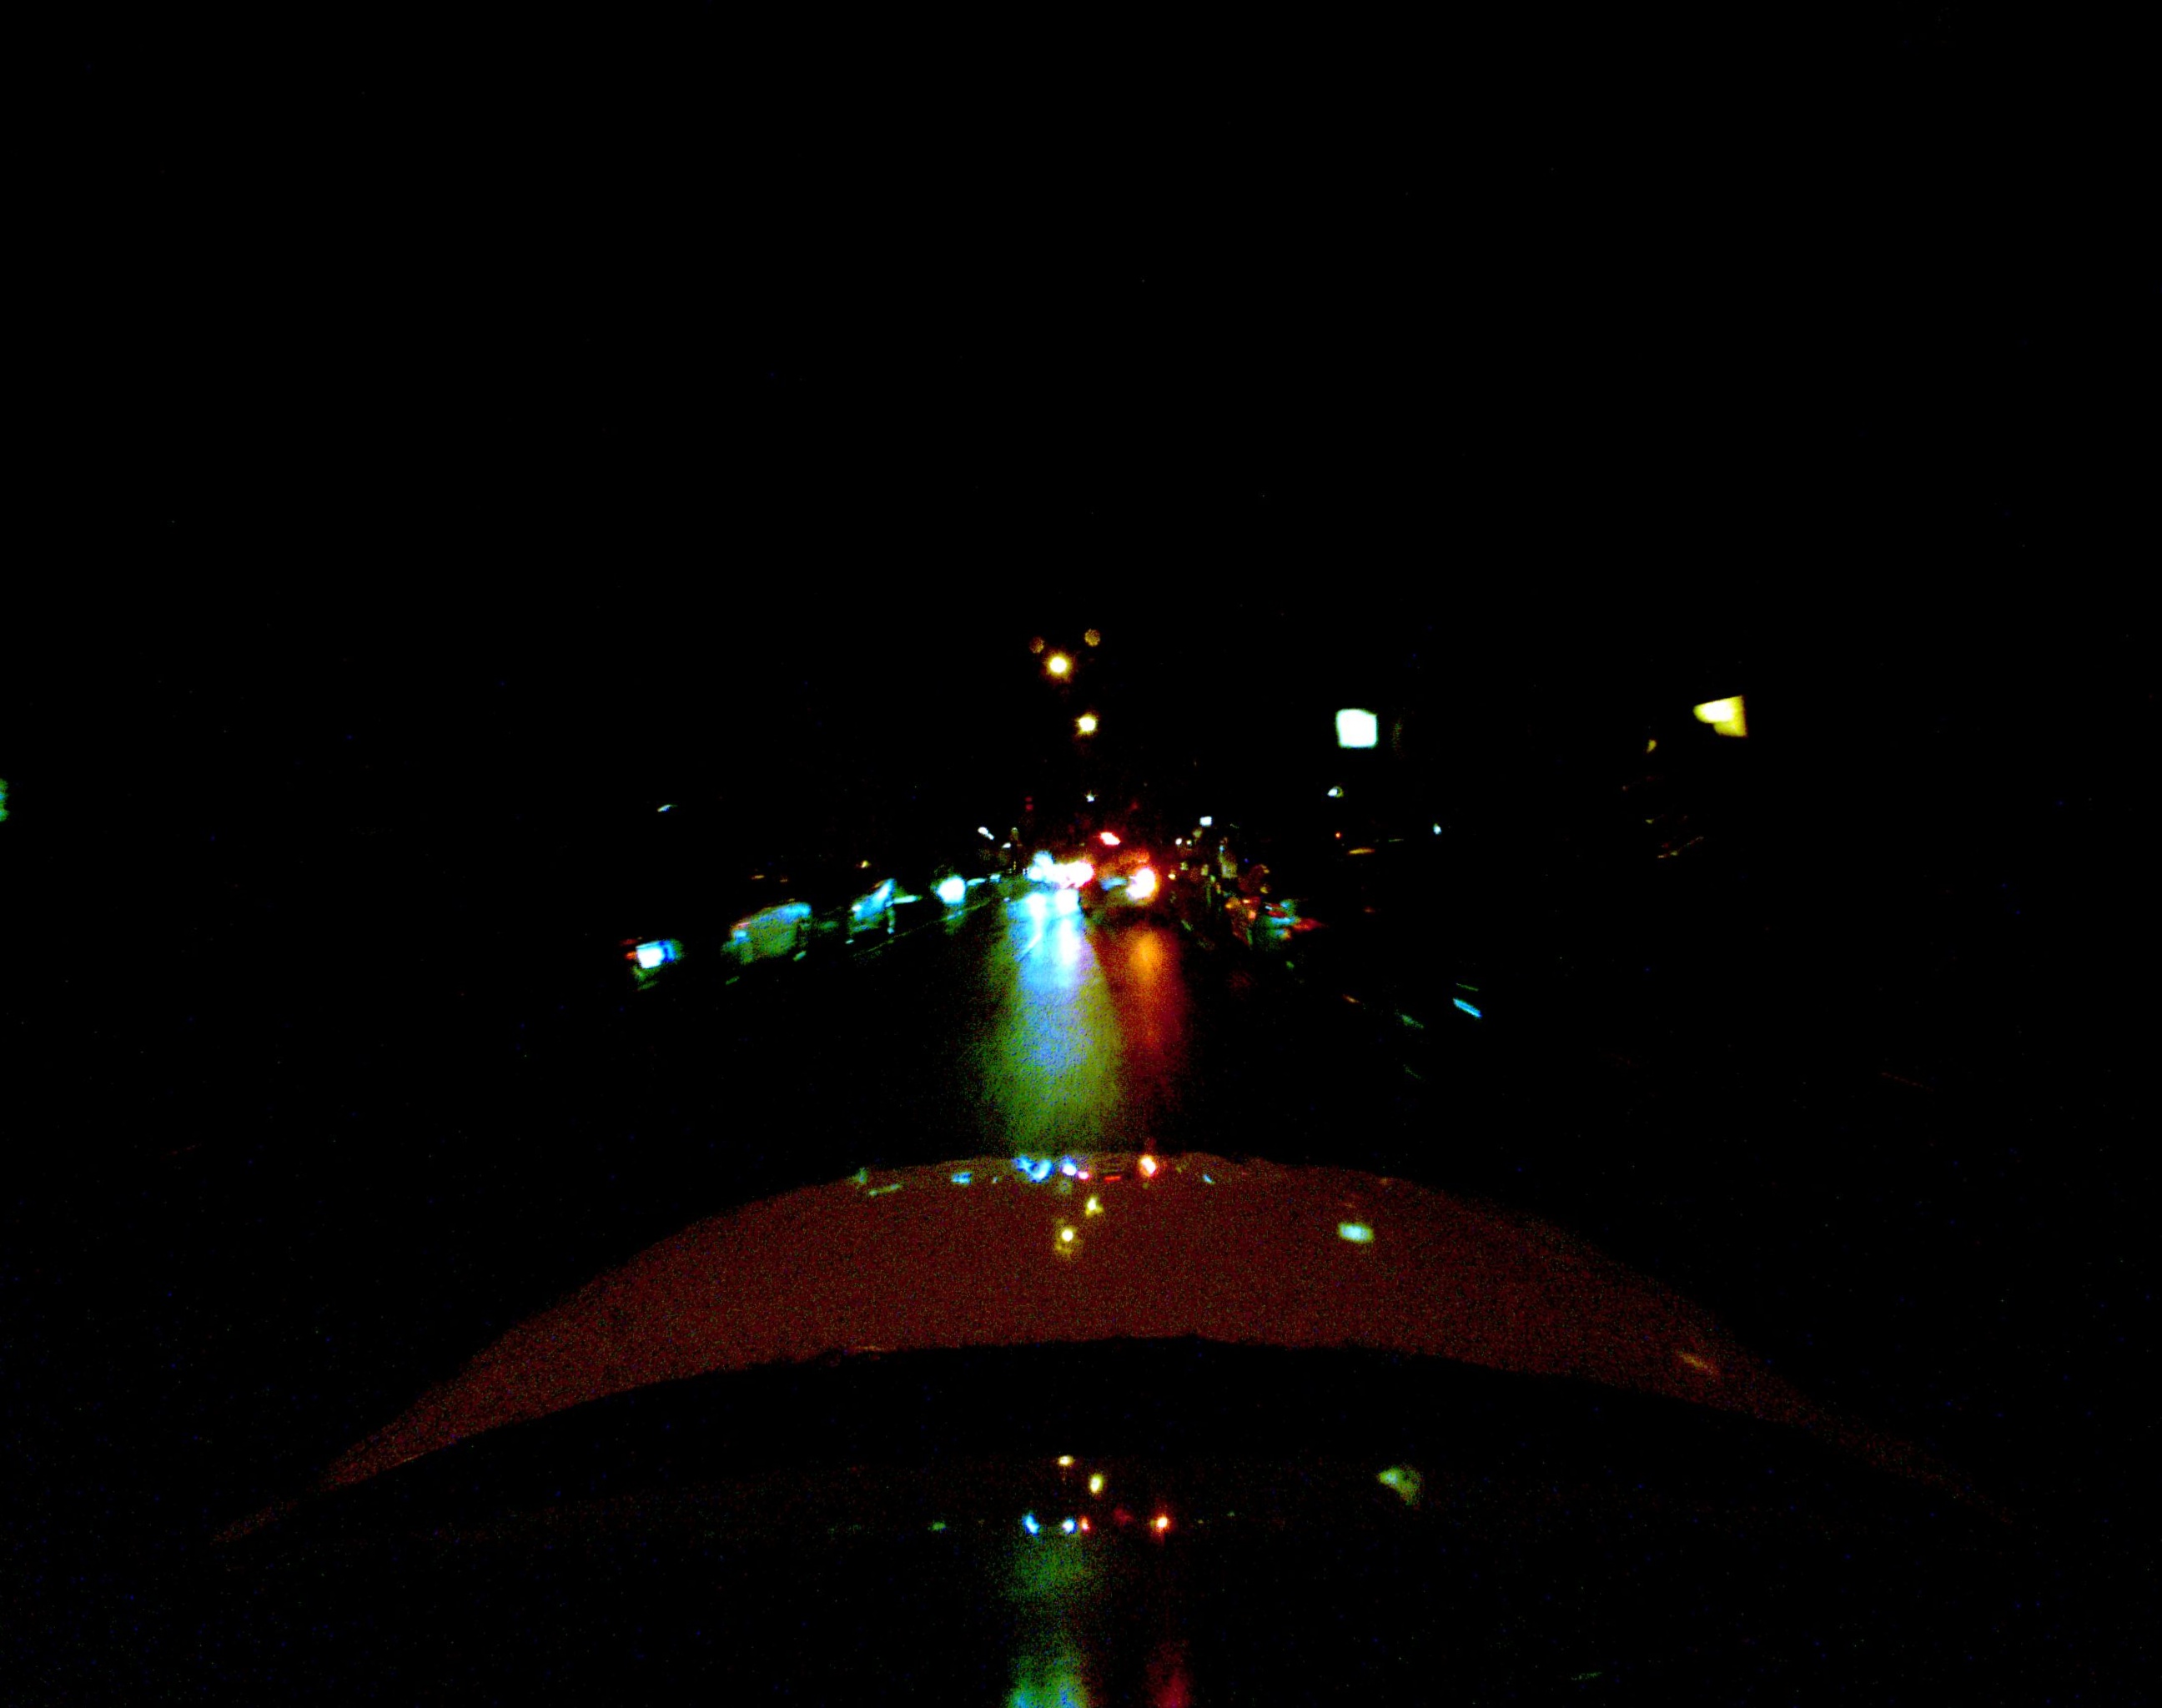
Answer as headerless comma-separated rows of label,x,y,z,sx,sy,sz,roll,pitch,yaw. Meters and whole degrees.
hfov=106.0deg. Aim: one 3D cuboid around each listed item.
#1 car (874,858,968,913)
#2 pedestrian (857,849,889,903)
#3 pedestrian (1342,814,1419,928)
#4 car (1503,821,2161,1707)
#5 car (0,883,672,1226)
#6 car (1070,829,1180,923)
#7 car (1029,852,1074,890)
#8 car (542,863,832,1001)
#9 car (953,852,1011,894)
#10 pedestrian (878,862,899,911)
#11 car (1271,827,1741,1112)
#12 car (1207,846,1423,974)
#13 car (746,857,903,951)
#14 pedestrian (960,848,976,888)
car,-4.832,0.896,25.275,1.826,1.486,4.596,-2,0,2
pedestrian,-7.111,0.740,27.834,0.739,1.804,0.988,0,-1,5
pedestrian,5.016,0.271,13.719,0.858,1.788,1.084,-4,0,5
car,2.613,0.668,1.329,1.685,1.498,3.888,-2,0,-2
car,-5.046,0.995,5.877,1.815,1.390,4.427,-1,0,1
car,1.255,0.494,20.504,1.982,2.049,4.710,-2,0,12
car,-1.370,0.769,39.621,1.914,1.618,4.574,-4,0,0
car,-5.135,0.911,11.396,1.826,1.481,4.308,-2,0,2
car,-4.326,0.809,36.151,1.826,1.717,4.596,-2,0,2
pedestrian,-6.280,1.054,26.626,0.657,1.552,0.759,1,-1,-13
car,2.775,0.641,6.402,1.683,1.498,3.892,-2,0,1
car,3.040,0.660,11.495,1.911,1.412,4.000,-2,0,1
car,-4.868,0.876,16.018,1.739,1.588,3.767,-2,0,2
pedestrian,-5.586,0.699,40.144,0.654,1.974,0.770,0,-1,1
